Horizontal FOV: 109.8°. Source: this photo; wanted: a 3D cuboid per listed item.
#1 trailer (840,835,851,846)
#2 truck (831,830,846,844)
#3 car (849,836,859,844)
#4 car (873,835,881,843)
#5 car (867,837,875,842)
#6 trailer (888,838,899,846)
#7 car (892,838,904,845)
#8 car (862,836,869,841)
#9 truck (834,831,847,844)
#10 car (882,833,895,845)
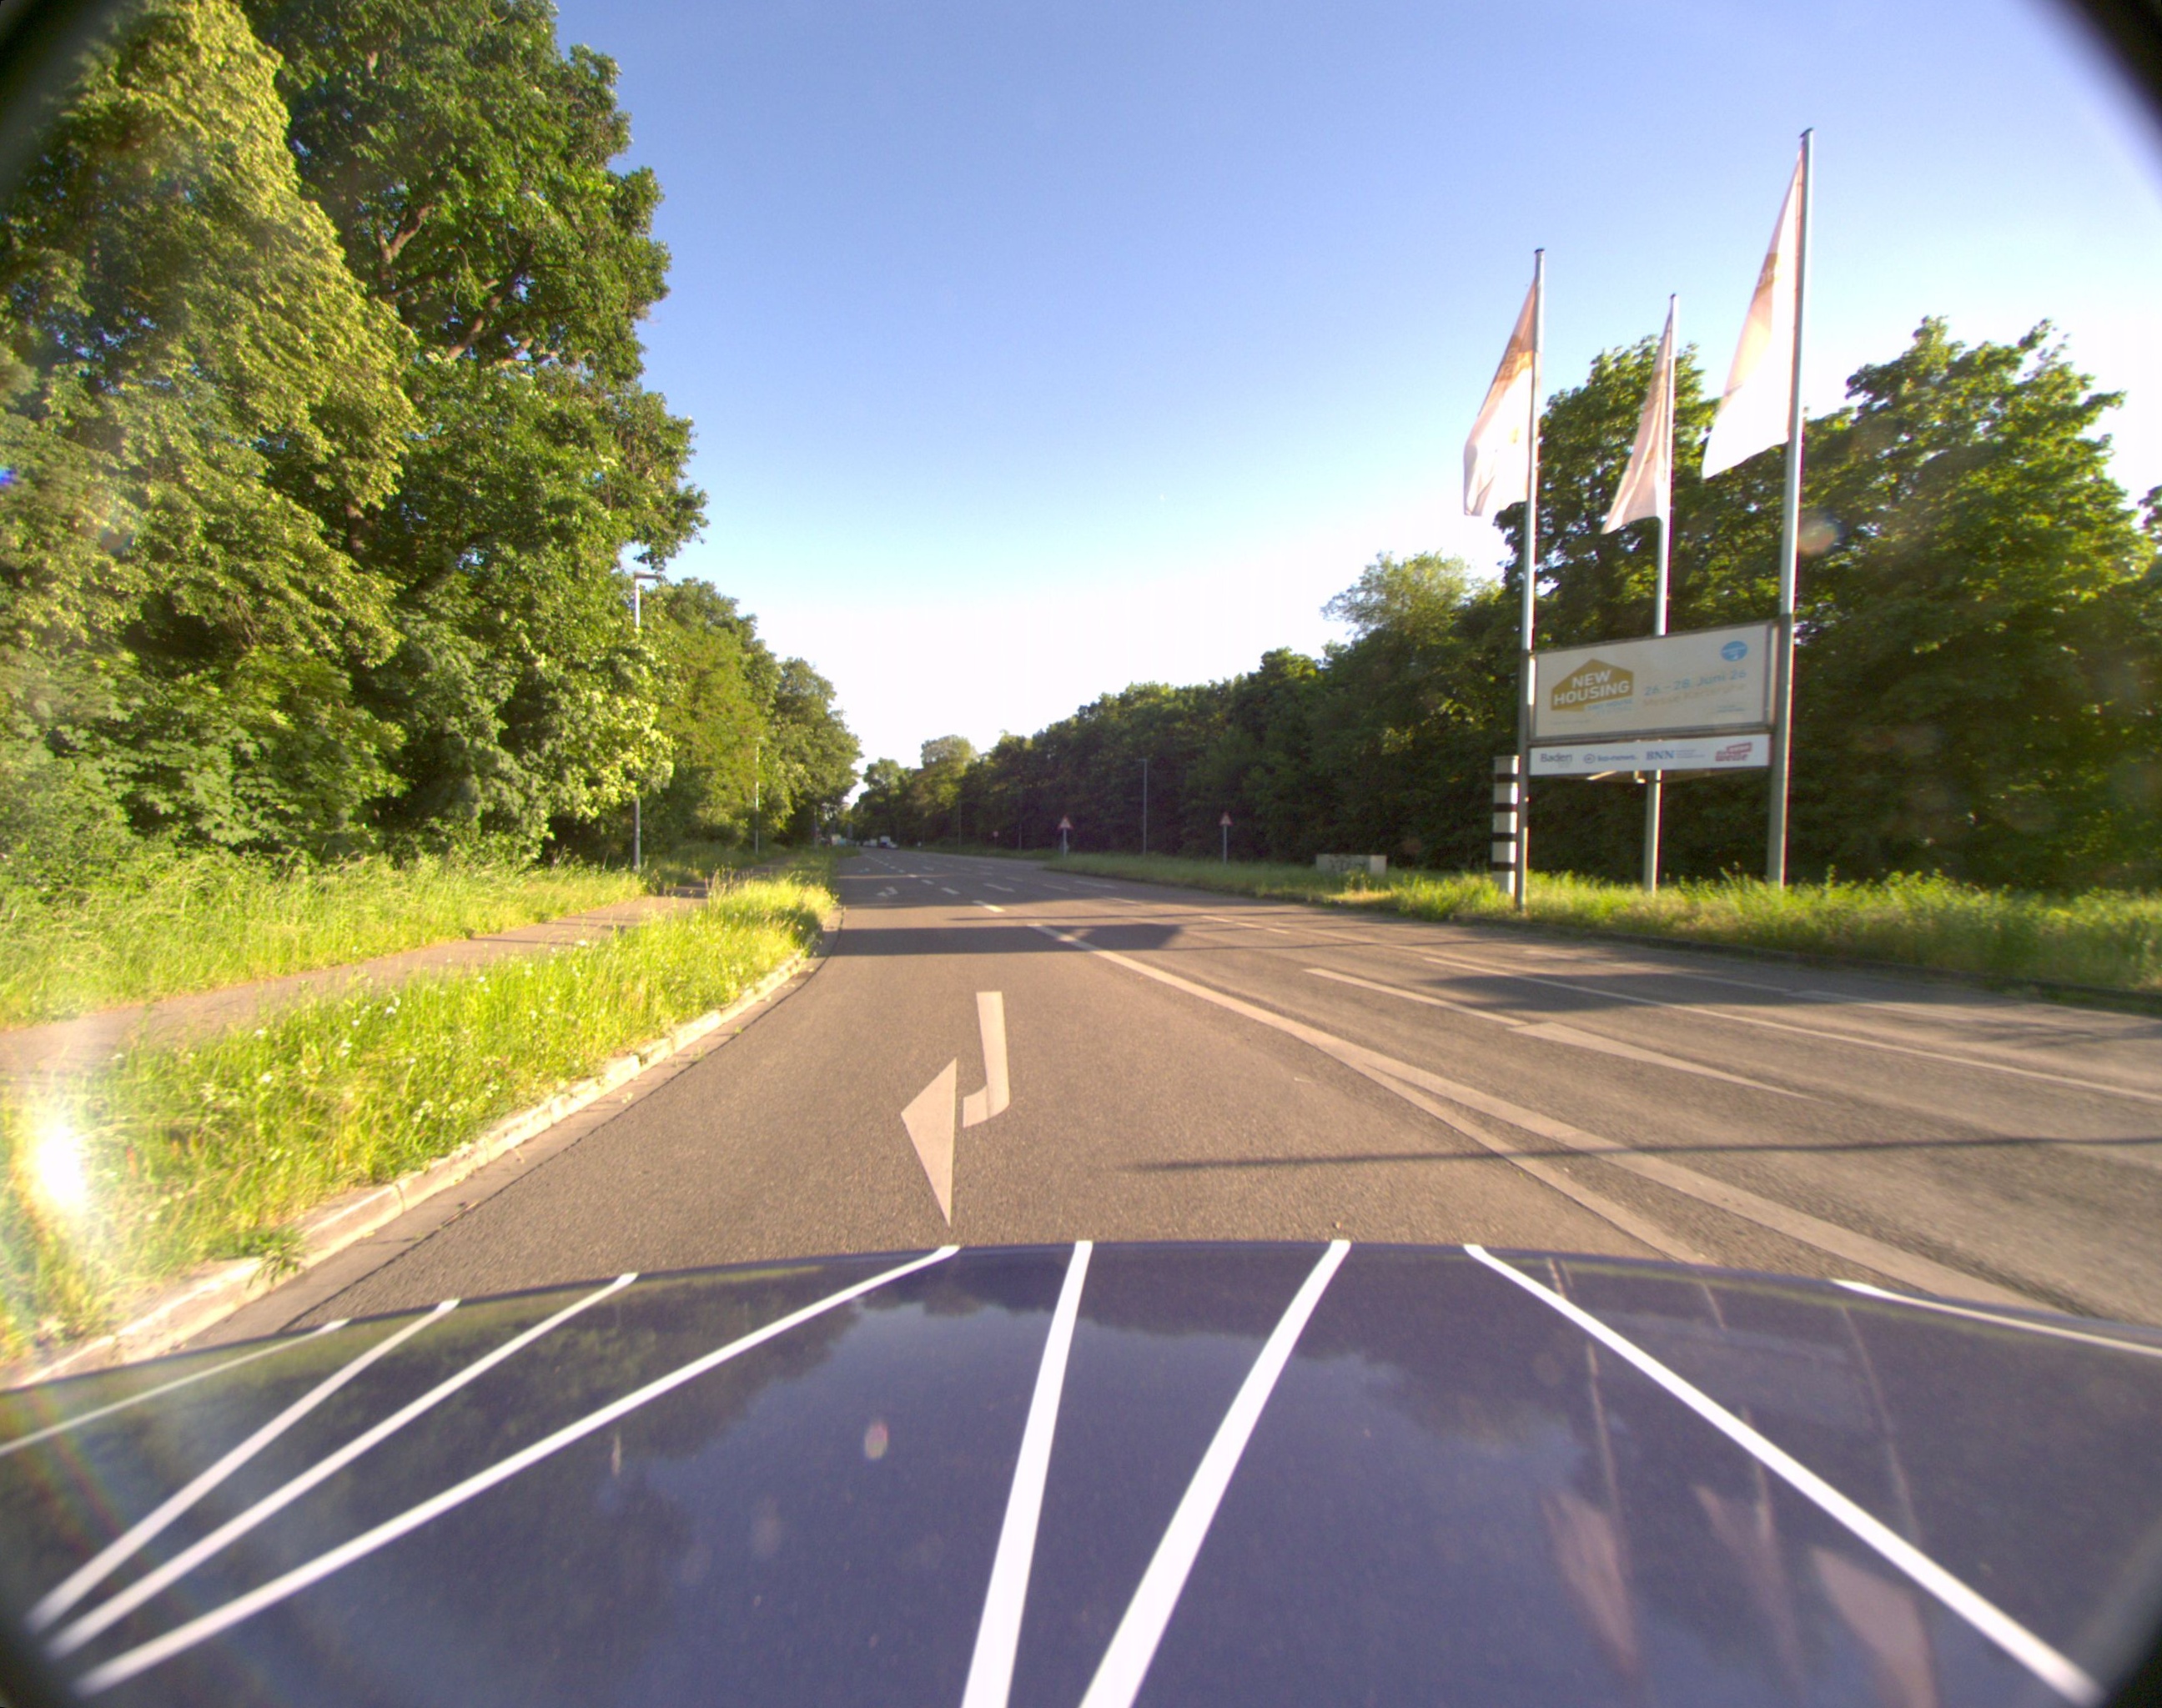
[{"bbox_3d":[-48.452,-2.745,156.294,1.872,2.166,4.120,-1,2,-21],"label":"trailer"},{"bbox_3d":[-58.291,-4.036,182.534,2.711,3.219,7.113,1,1,-21],"label":"truck"},{"bbox_3d":[-55.065,-3.381,184.192,2.002,2.002,3.991,0,1,-23],"label":"car"},{"bbox_3d":[-56.542,-4.214,210.588,1.695,2.089,4.623,1,1,-21],"label":"car"},{"bbox_3d":[-61.469,-4.276,222.086,1.809,1.496,3.904,1,1,-21],"label":"car"},{"bbox_3d":[-41.821,-2.734,169.188,1.809,1.719,3.640,1,1,-21],"label":"trailer"},{"bbox_3d":[-39.641,-2.774,164.457,1.918,1.456,4.003,2,1,-21],"label":"car"},{"bbox_3d":[-67.200,-4.743,236.835,1.809,1.496,3.904,1,1,-21],"label":"car"},{"bbox_3d":[-54.753,-3.694,172.913,2.393,2.856,5.587,-3,3,-21],"label":"truck"},{"bbox_3d":[-45.721,-3.534,180.488,2.465,2.831,4.789,1,1,-21],"label":"car"}]
